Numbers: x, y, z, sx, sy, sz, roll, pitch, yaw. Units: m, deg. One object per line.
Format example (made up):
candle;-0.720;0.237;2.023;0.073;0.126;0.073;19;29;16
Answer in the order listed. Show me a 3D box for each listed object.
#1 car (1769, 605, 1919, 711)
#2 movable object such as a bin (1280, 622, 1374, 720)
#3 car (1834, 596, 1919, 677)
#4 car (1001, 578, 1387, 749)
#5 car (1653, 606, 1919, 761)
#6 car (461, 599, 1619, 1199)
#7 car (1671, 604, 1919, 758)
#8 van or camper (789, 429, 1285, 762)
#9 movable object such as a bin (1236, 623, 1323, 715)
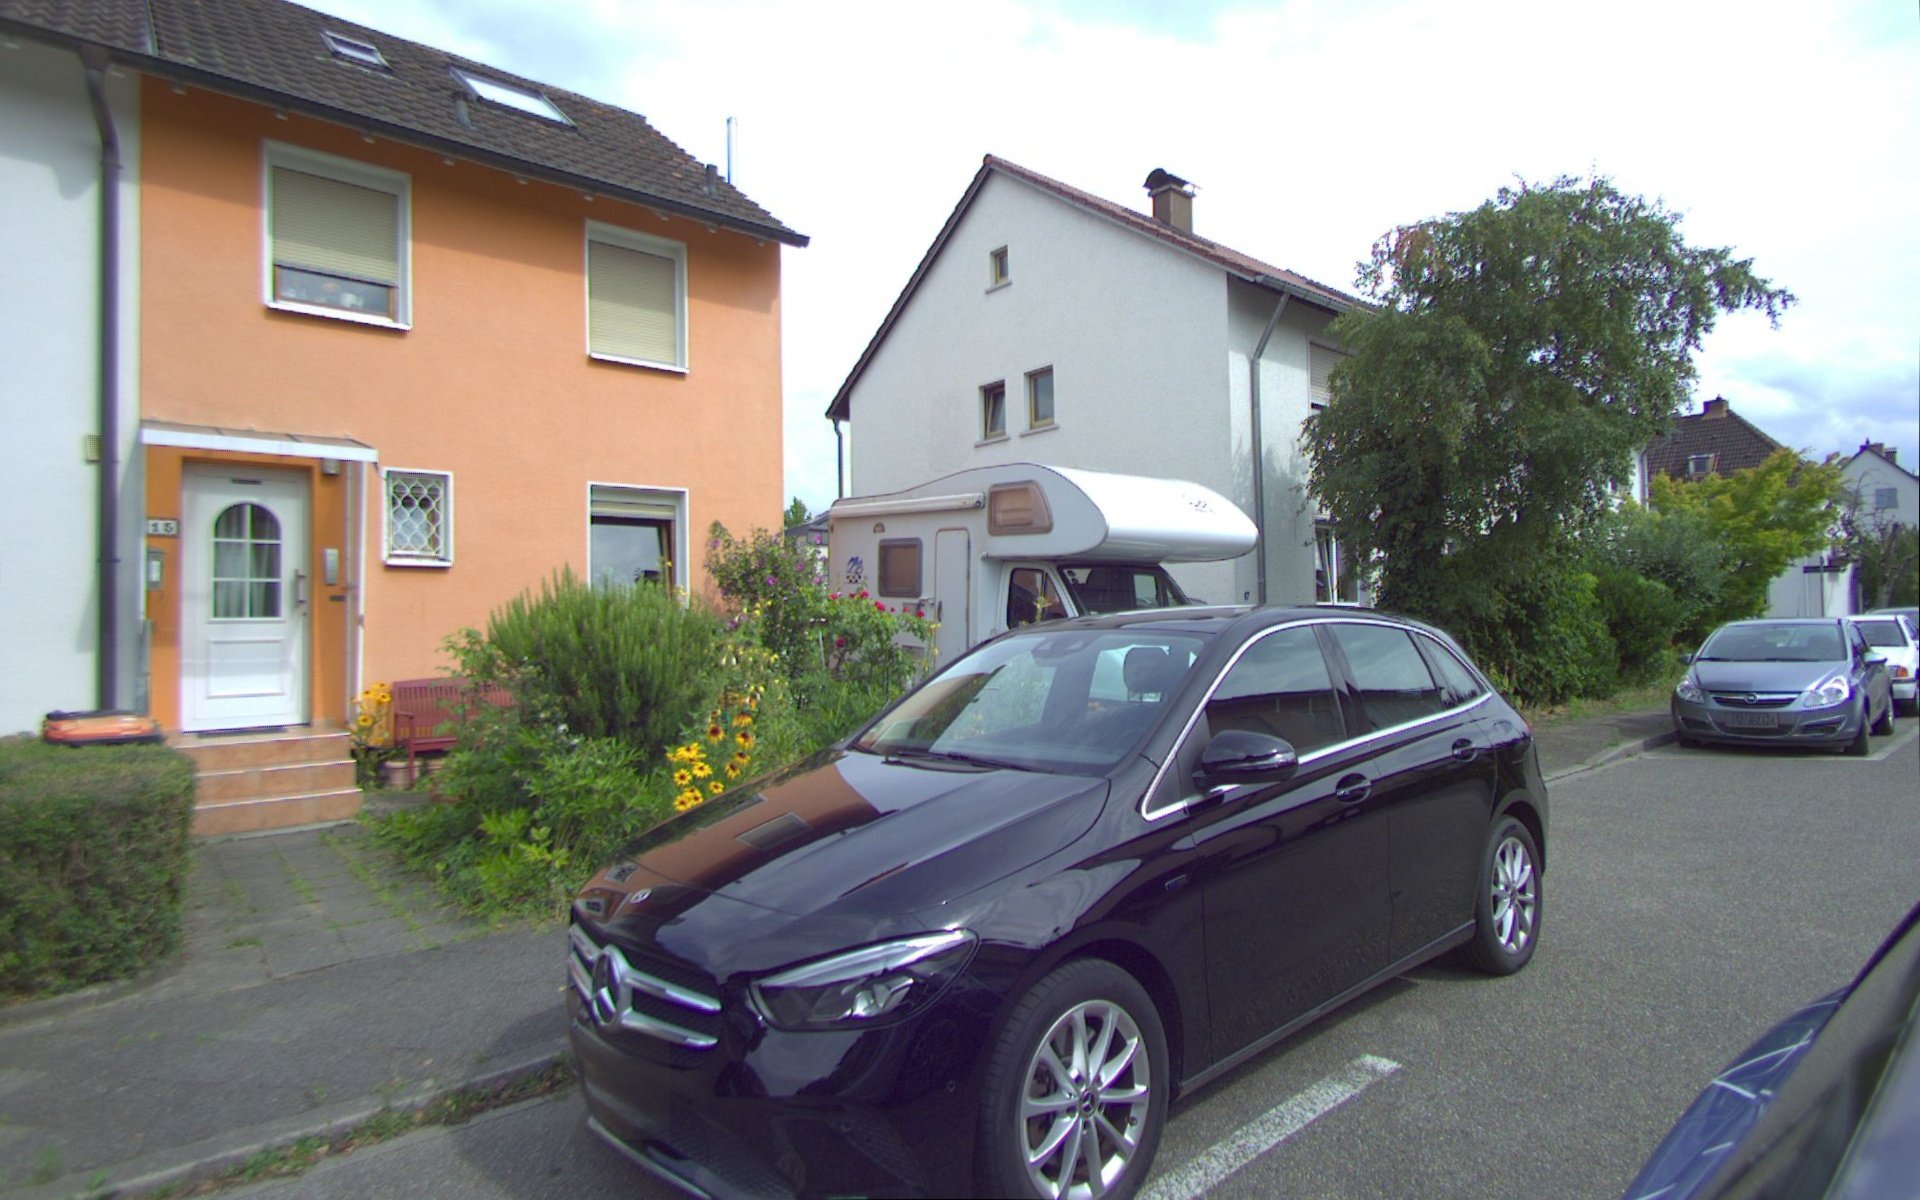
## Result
car;14.007;0.796;15.516;4.616;1.382;1.695;0;-2;-41
movable object such as a bin;4.873;0.909;13.425;1.080;1.209;0.721;0;-1;-40
car;18.921;0.644;19.885;4.764;1.458;1.871;0;-2;-40
car;2.685;0.703;12.647;1.864;1.730;4.542;0;-2;-37
car;9.847;0.842;11.873;4.142;1.489;1.745;0;-1;-40
car;0.772;0.772;3.908;4.566;1.486;1.752;0;-2;-41
car;9.908;0.829;11.851;4.149;1.461;1.704;0;-3;-43
van or camper;0.508;-0.009;11.746;2.490;2.854;5.813;0;-1;-38
movable object such as a bin;4.419;0.923;13.974;1.122;1.191;0.654;0;-1;-41
